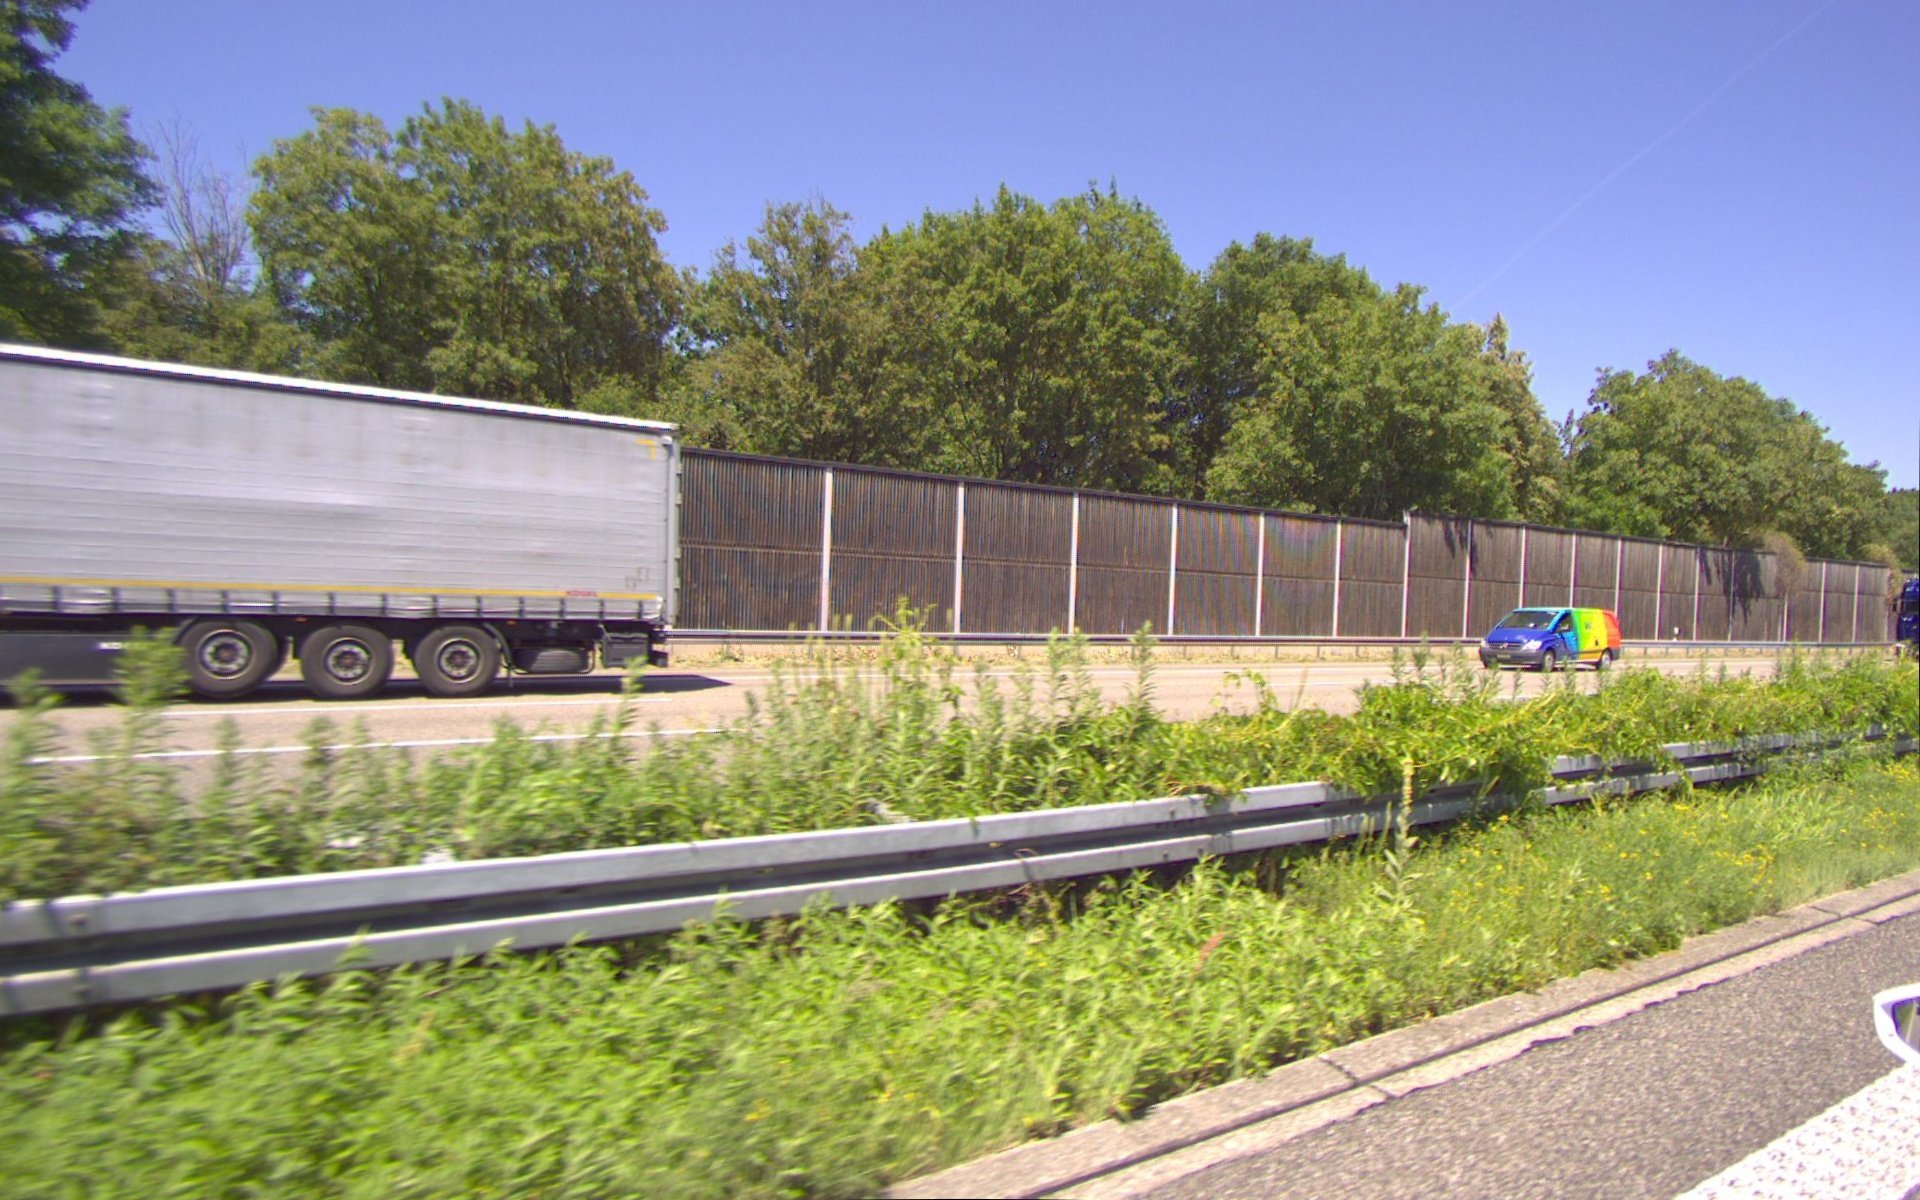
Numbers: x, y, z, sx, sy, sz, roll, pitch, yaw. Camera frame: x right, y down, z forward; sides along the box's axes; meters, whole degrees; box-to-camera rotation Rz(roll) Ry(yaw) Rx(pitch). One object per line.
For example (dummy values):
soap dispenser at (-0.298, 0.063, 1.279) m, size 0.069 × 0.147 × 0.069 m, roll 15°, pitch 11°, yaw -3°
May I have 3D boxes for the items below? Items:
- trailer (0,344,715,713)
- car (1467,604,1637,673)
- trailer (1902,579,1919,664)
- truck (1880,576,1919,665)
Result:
trailer at (-10.342, -0.768, 13.024) m, size 13.652 × 4.083 × 2.947 m, roll 2°, pitch 0°, yaw -32°
car at (18.056, 1.155, 30.538) m, size 5.895 × 1.905 × 1.982 m, roll 2°, pitch 0°, yaw -33°
trailer at (52.866, 1.222, 51.926) m, size 13.188 × 4.146 × 2.882 m, roll 2°, pitch 0°, yaw -33°
truck at (47.205, 1.033, 48.293) m, size 6.051 × 4.147 × 2.882 m, roll 2°, pitch 0°, yaw -33°
